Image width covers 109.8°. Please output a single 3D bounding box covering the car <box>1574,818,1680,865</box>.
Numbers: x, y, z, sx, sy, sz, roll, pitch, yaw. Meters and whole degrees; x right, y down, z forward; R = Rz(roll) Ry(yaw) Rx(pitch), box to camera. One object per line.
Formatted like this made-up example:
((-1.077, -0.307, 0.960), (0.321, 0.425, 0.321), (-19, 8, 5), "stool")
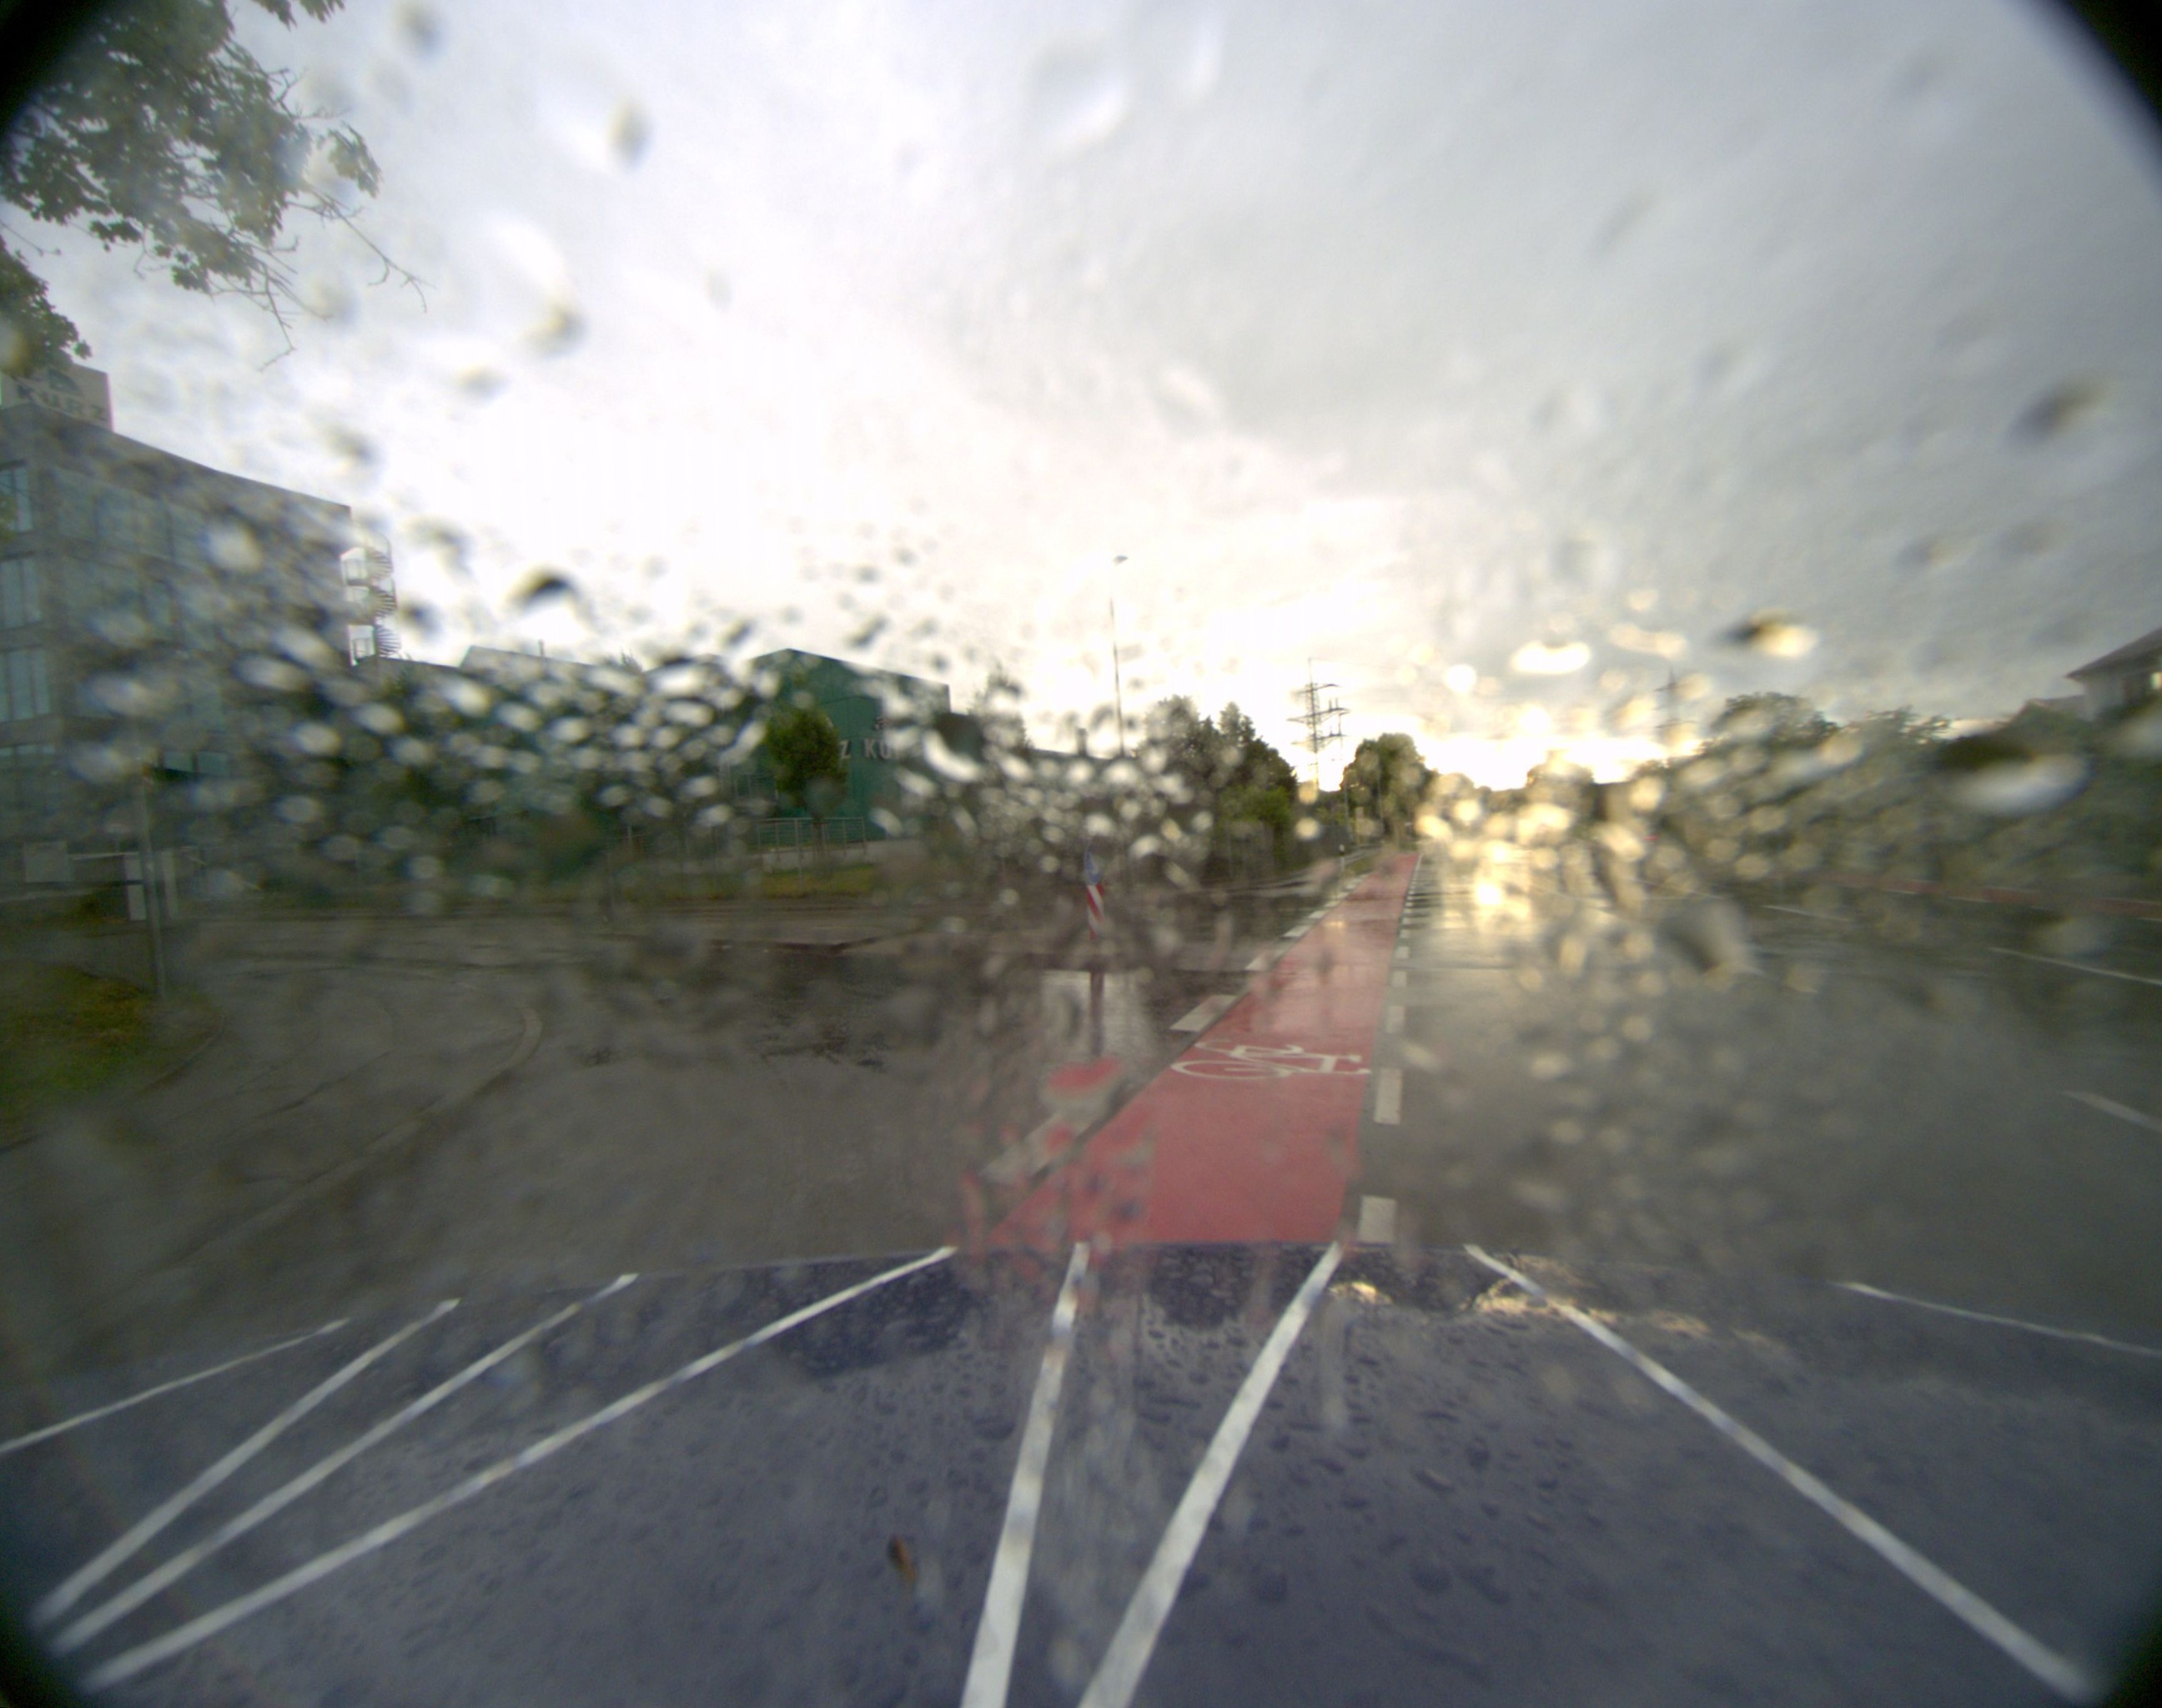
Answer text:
((23.727, -0.604, 33.360), (2.356, 1.805, 6.887), (-1, 1, 24), "car")
